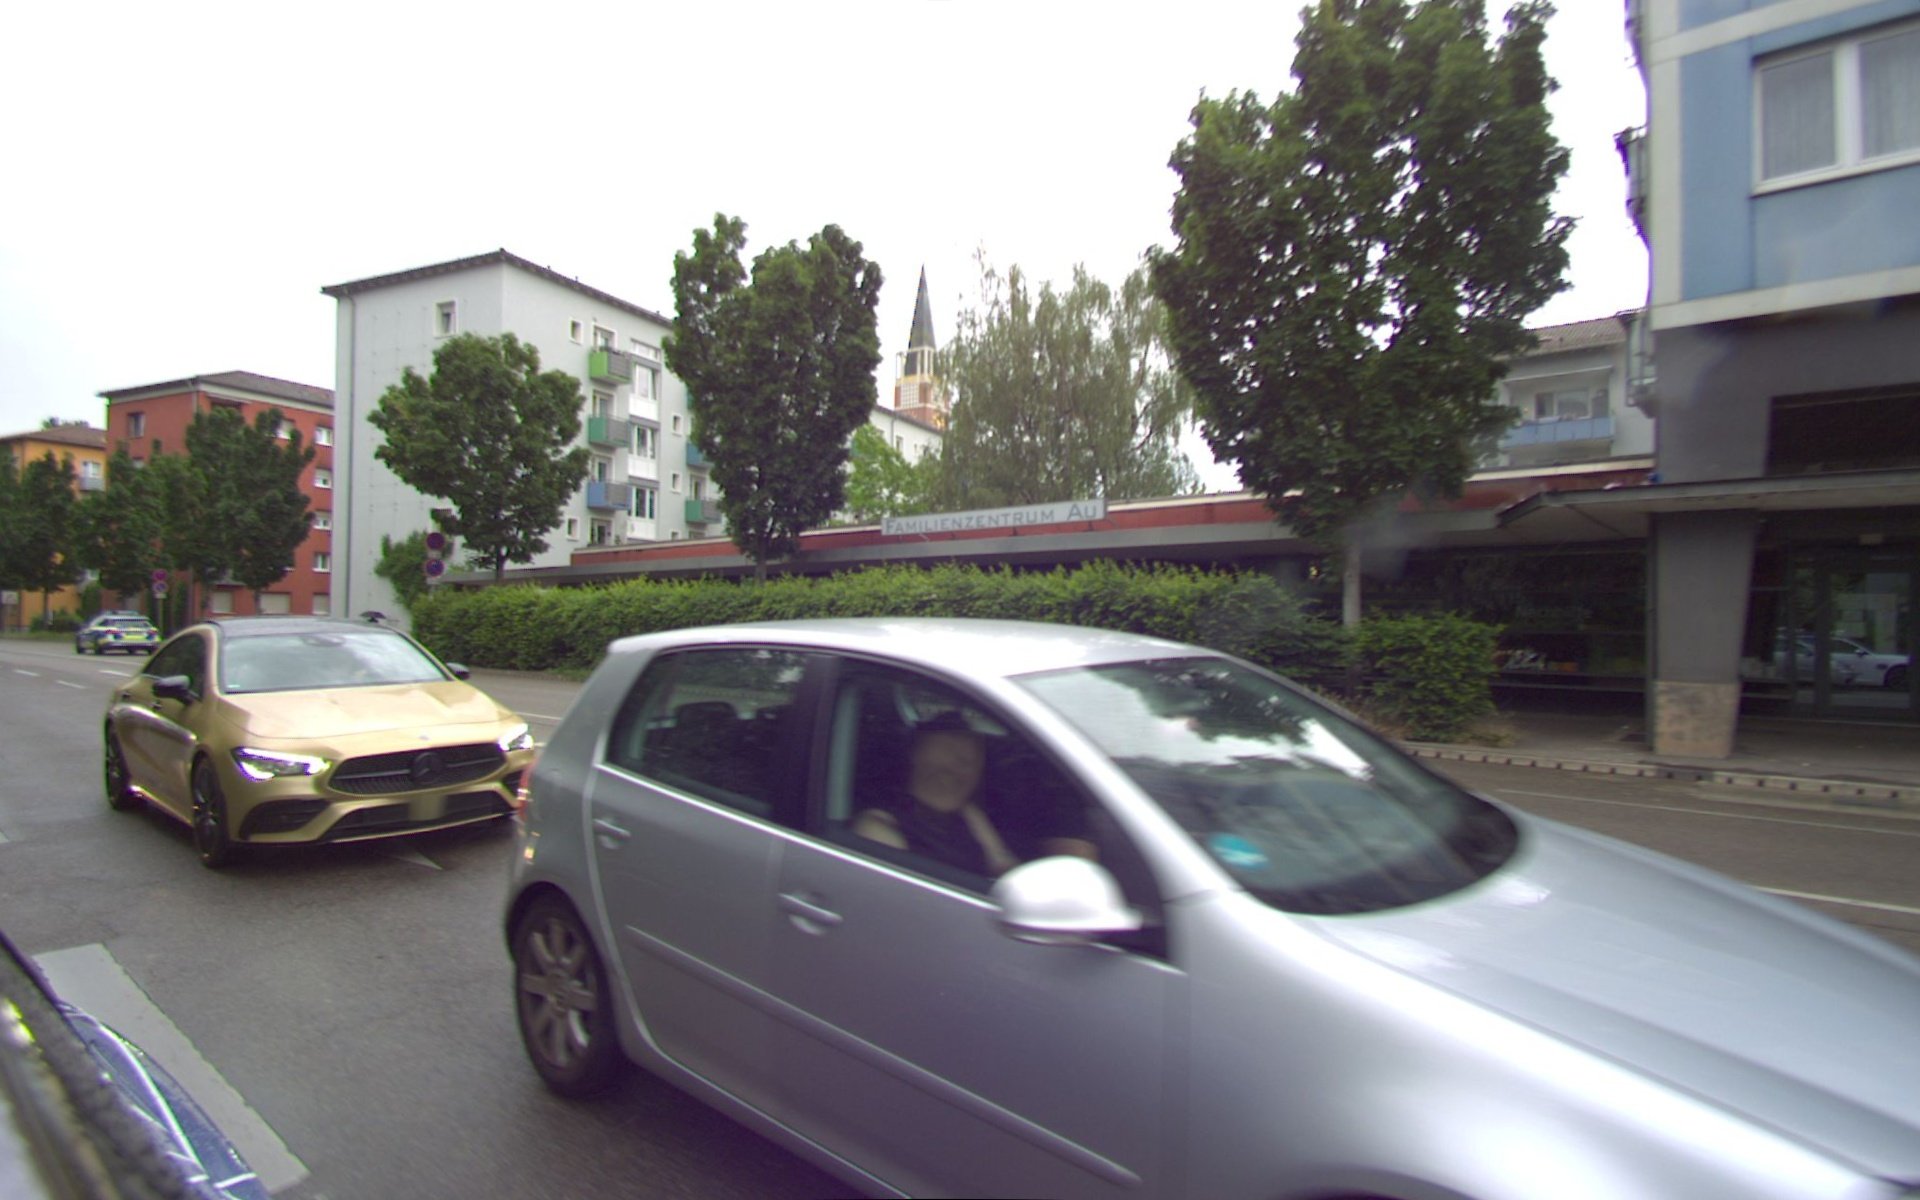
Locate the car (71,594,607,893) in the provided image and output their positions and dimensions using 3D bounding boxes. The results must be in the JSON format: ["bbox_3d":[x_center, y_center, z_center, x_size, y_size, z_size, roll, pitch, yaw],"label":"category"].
[{"bbox_3d":[-4.675,0.756,7.306,4.584,1.475,2.044,-1,-2,41],"label":"car"}]

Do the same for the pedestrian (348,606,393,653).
[{"bbox_3d":[-23.232,1.153,39.905,1.261,1.817,1.124,-1,-2,37],"label":"pedestrian"}]

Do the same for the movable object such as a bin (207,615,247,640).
[{"bbox_3d":[-39.710,1.476,54.853,1.961,1.341,1.147,-1,-2,35],"label":"movable object such as a bin"}]

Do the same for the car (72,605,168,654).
[{"bbox_3d":[-32.095,1.111,38.629,4.803,1.763,1.973,-1,-2,40],"label":"car"}]

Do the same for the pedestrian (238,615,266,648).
[{"bbox_3d":[-33.262,1.487,47.555,1.066,1.529,0.687,-1,-2,32],"label":"pedestrian"}]

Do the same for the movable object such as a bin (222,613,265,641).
[{"bbox_3d":[-37.934,1.427,53.601,2.082,1.496,1.205,-1,-2,35],"label":"movable object such as a bin"}]

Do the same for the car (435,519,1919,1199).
[{"bbox_3d":[0.416,0.700,2.643,4.159,1.498,1.726,-1,-2,41],"label":"car"}]
